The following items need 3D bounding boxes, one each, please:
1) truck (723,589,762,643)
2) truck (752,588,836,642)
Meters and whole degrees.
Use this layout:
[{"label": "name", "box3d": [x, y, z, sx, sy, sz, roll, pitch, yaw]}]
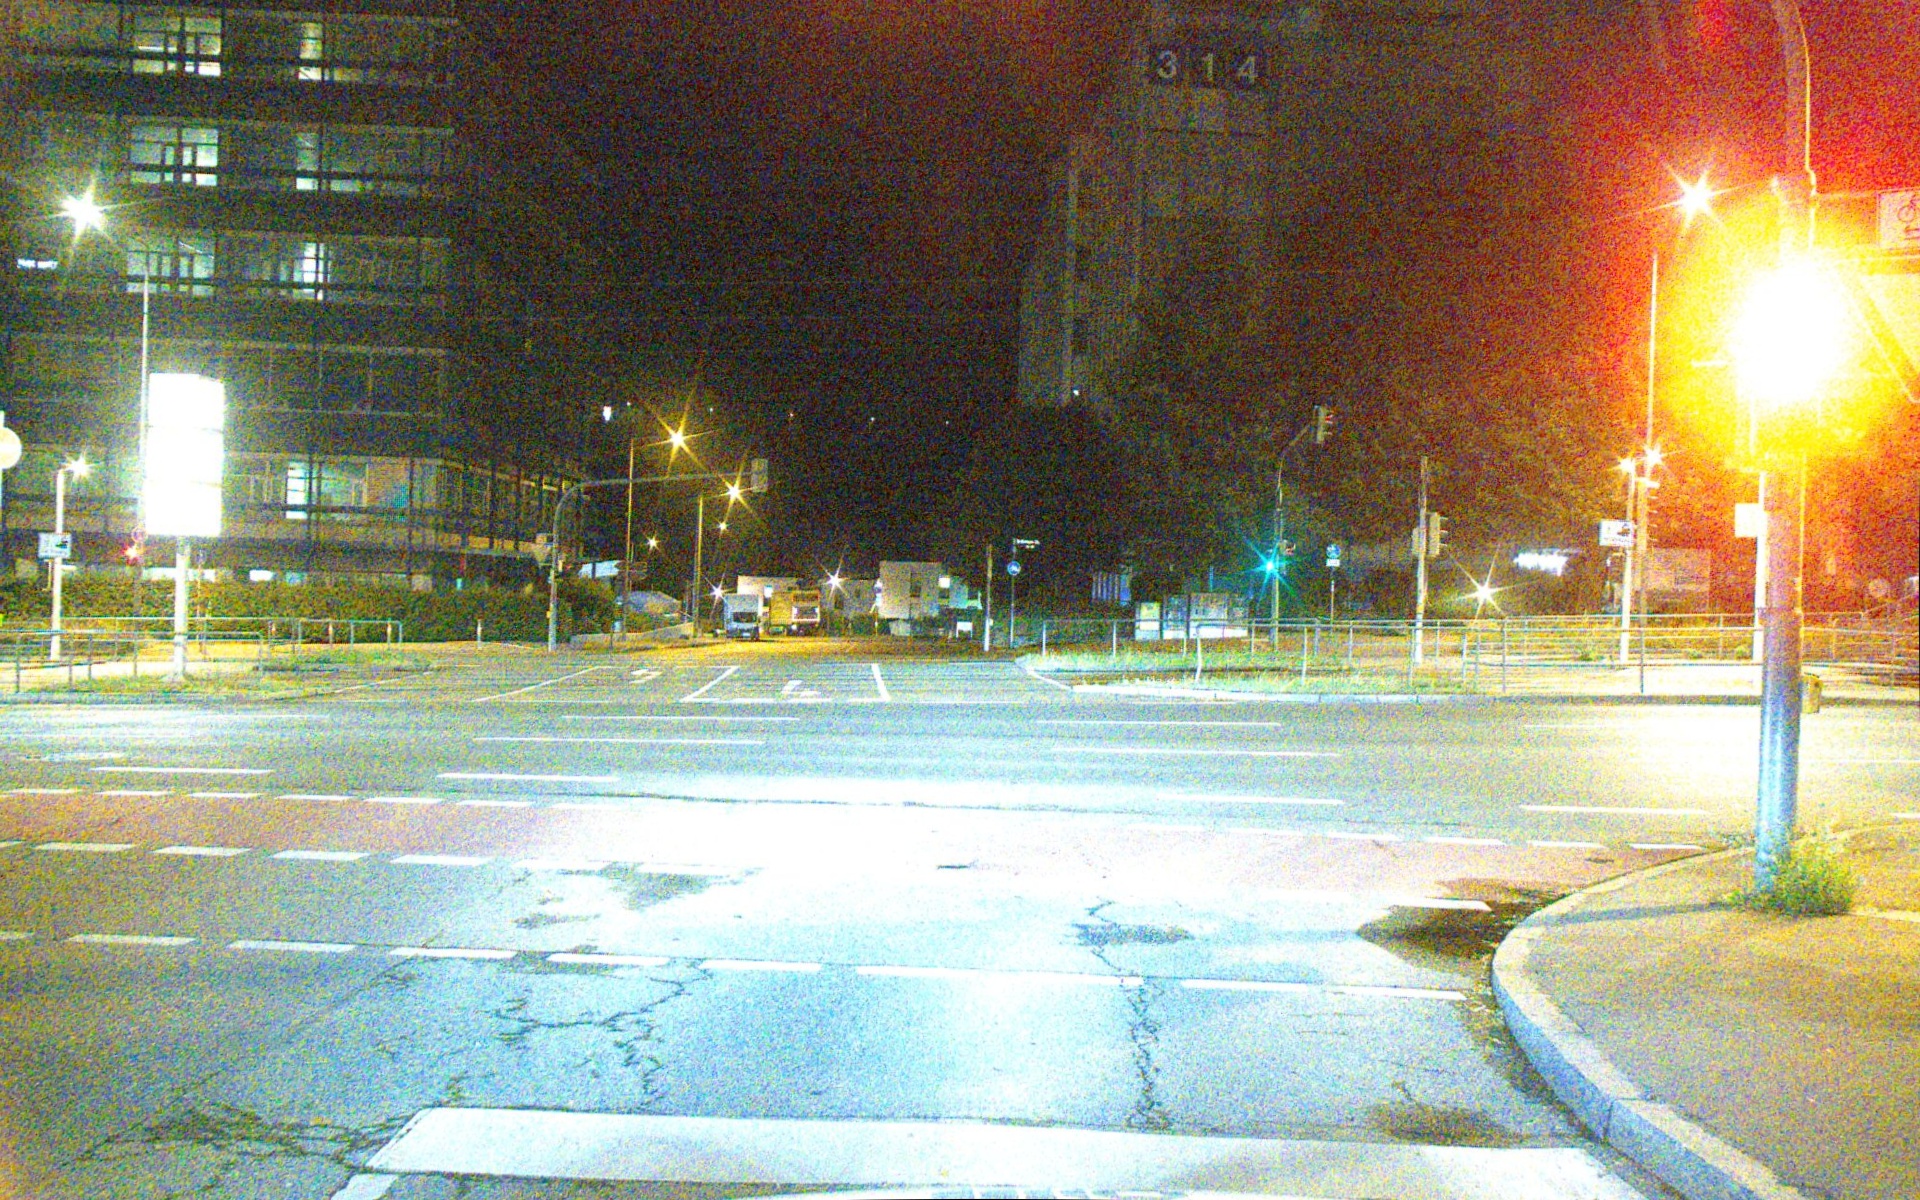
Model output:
[{"label": "truck", "box3d": [-15.650, 1.134, 118.941, 2.535, 3.772, 5.724, 1, 0, -10]}, {"label": "truck", "box3d": [-15.259, 1.295, 150.800, 4.751, 4.627, 12.593, 1, 0, -19]}]
